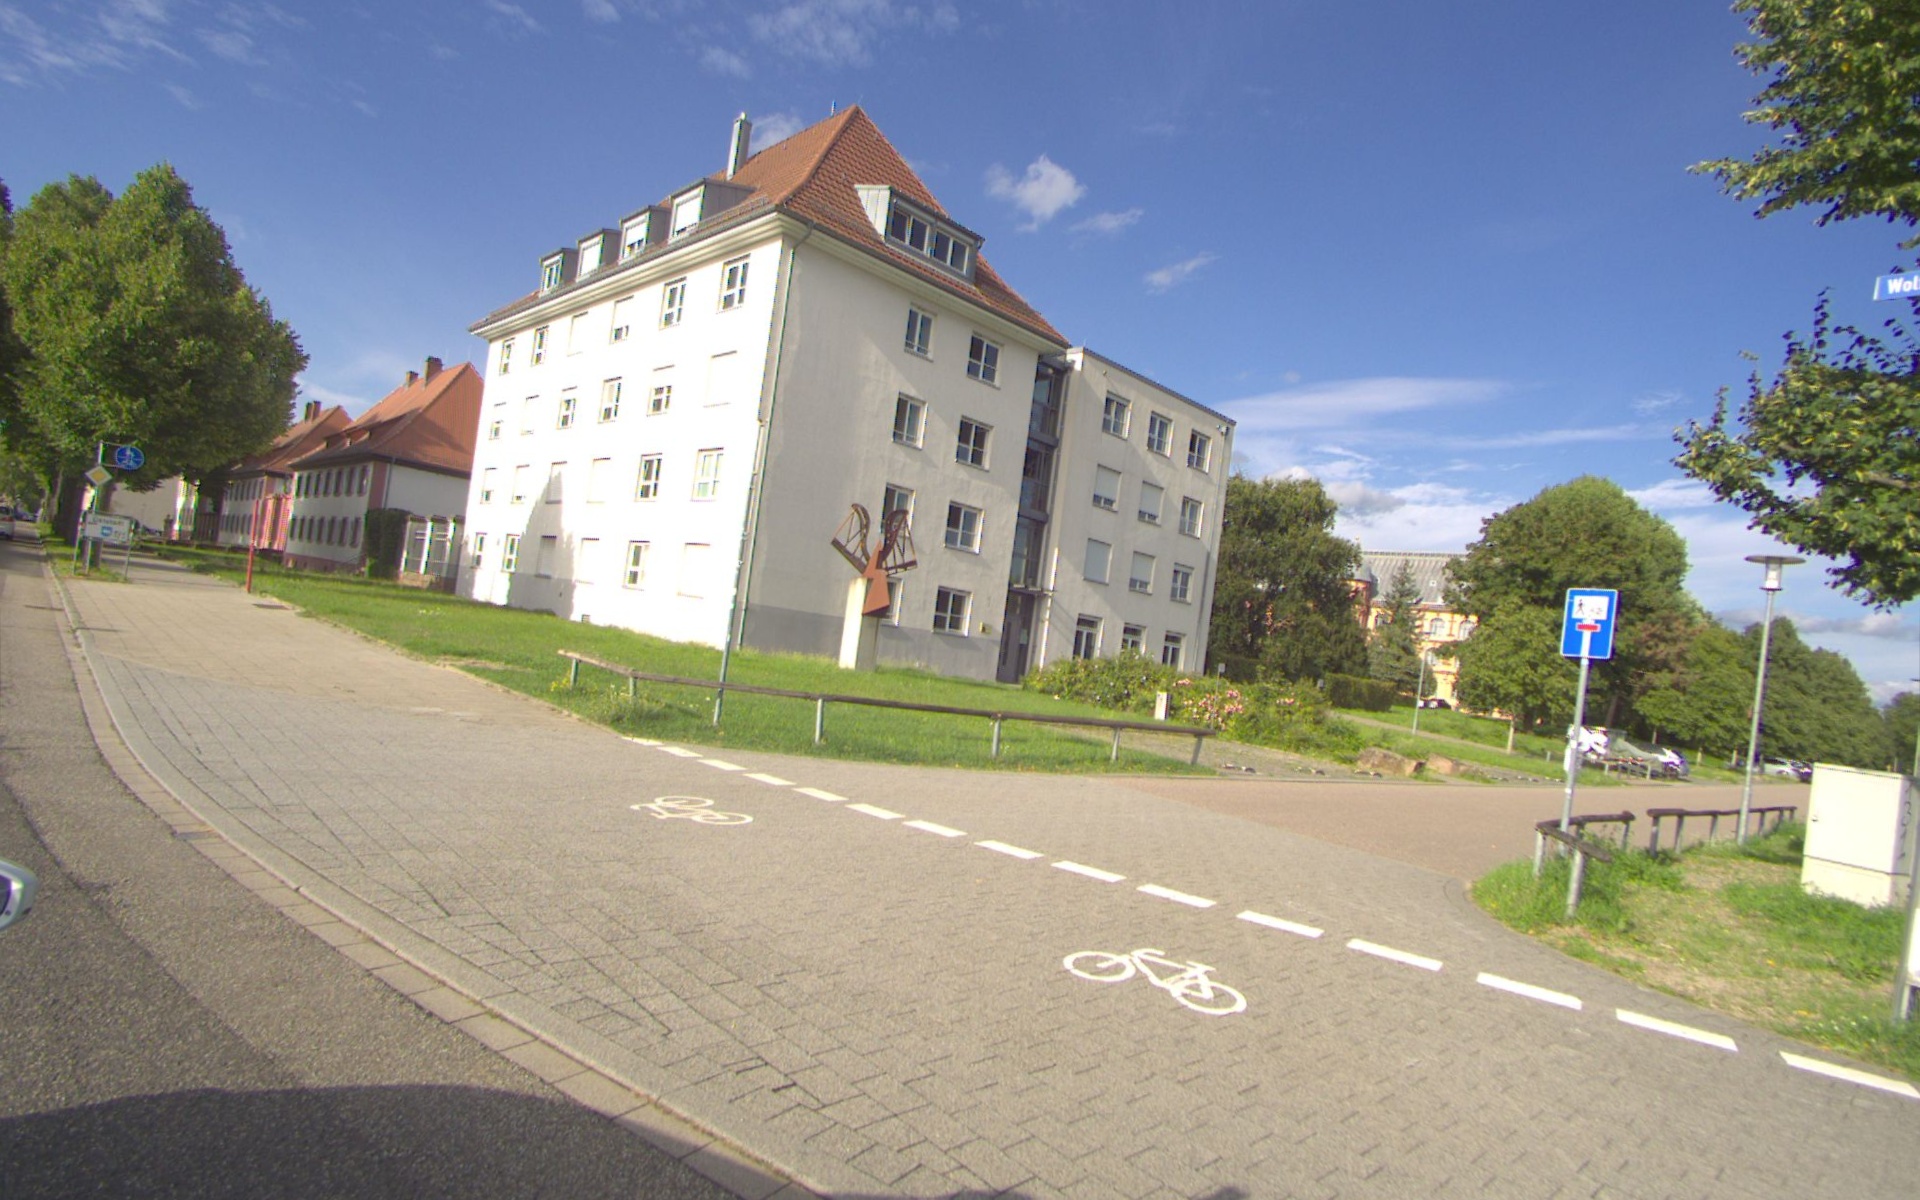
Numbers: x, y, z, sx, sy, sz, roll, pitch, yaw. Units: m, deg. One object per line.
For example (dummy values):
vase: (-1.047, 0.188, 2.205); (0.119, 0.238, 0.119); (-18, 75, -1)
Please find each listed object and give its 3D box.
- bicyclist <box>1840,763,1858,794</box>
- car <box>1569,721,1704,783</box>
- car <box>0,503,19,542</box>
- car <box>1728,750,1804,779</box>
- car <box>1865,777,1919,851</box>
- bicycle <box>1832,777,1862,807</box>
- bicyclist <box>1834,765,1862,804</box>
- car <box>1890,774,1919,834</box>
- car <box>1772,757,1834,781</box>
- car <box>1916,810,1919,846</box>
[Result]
bicyclist: (39.108, 7.857, 44.236); (0.846, 1.259, 0.447); (9, -2, -45)
car: (31.474, 7.048, 46.929); (1.866, 2.034, 4.759); (12, -5, -40)
car: (-43.378, -3.601, 44.837); (1.848, 1.589, 4.399); (11, -4, -44)
car: (57.565, 11.718, 71.850); (1.771, 1.350, 3.951); (9, -3, -43)
car: (22.051, 4.830, 20.990); (1.850, 1.397, 4.462); (9, -3, -42)
bicycle: (39.170, 8.473, 44.422); (2.138, 1.150, 0.763); (9, -3, -44)
bicyclist: (39.204, 8.142, 44.421); (0.954, 1.593, 0.763); (8, -2, -44)
car: (28.031, 5.839, 26.701); (1.850, 1.533, 4.678); (9, -3, -42)
car: (74.274, 14.901, 88.649); (1.771, 1.350, 3.951); (9, -3, -43)
car: (24.811, 5.310, 22.567); (1.850, 1.456, 4.678); (9, -3, -42)
